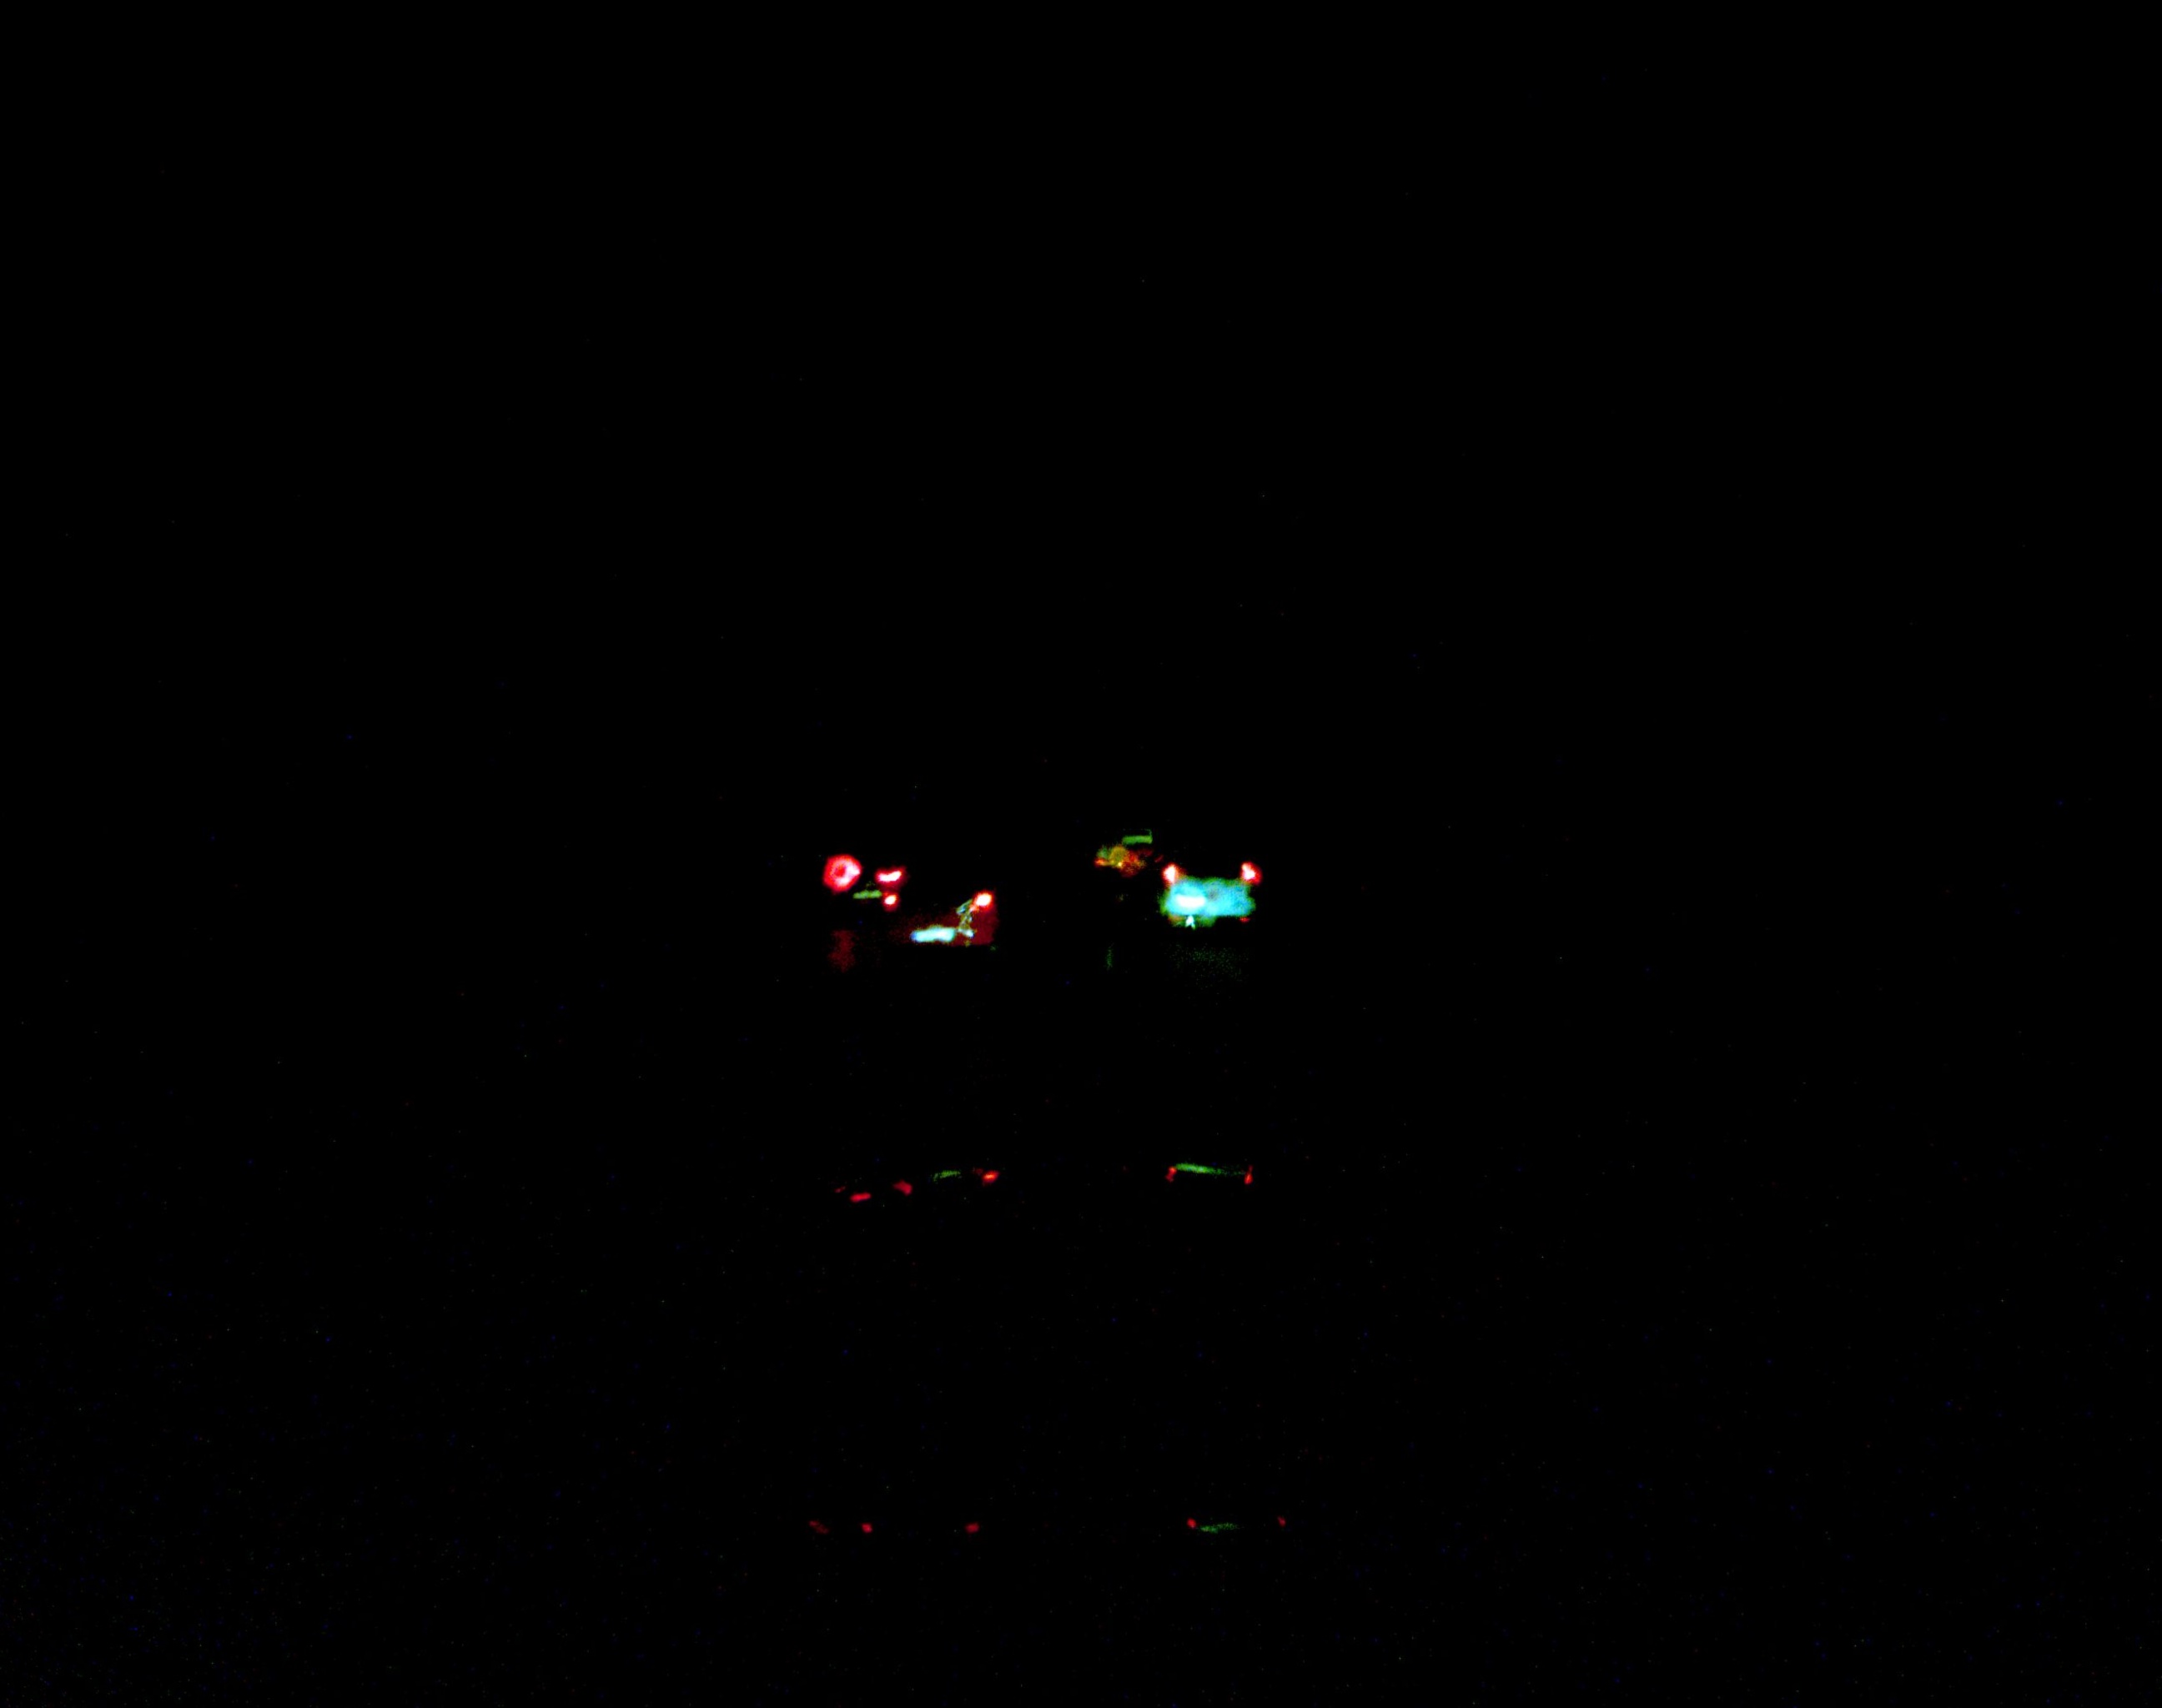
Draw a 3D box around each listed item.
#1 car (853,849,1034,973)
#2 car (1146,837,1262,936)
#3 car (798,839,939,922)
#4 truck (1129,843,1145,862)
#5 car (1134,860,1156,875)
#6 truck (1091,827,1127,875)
[{"bbox_3d":[-1.922,0.779,12.735,1.908,1.594,4.236,-1,-1,3],"label":"car"},{"bbox_3d":[2.455,0.632,17.500,1.945,1.792,5.127,-1,-1,3],"label":"car"},{"bbox_3d":[-5.105,0.623,20.352,1.985,1.777,4.891,-1,-1,3],"label":"car"},{"bbox_3d":[15.103,-0.261,220.885,3.809,4.915,11.612,-1,-1,2],"label":"truck"},{"bbox_3d":[6.352,1.337,81.097,1.882,1.354,4.002,3,0,2],"label":"car"},{"bbox_3d":[3.550,-0.241,101.024,4.151,5.544,13.081,-1,-1,2],"label":"truck"}]
